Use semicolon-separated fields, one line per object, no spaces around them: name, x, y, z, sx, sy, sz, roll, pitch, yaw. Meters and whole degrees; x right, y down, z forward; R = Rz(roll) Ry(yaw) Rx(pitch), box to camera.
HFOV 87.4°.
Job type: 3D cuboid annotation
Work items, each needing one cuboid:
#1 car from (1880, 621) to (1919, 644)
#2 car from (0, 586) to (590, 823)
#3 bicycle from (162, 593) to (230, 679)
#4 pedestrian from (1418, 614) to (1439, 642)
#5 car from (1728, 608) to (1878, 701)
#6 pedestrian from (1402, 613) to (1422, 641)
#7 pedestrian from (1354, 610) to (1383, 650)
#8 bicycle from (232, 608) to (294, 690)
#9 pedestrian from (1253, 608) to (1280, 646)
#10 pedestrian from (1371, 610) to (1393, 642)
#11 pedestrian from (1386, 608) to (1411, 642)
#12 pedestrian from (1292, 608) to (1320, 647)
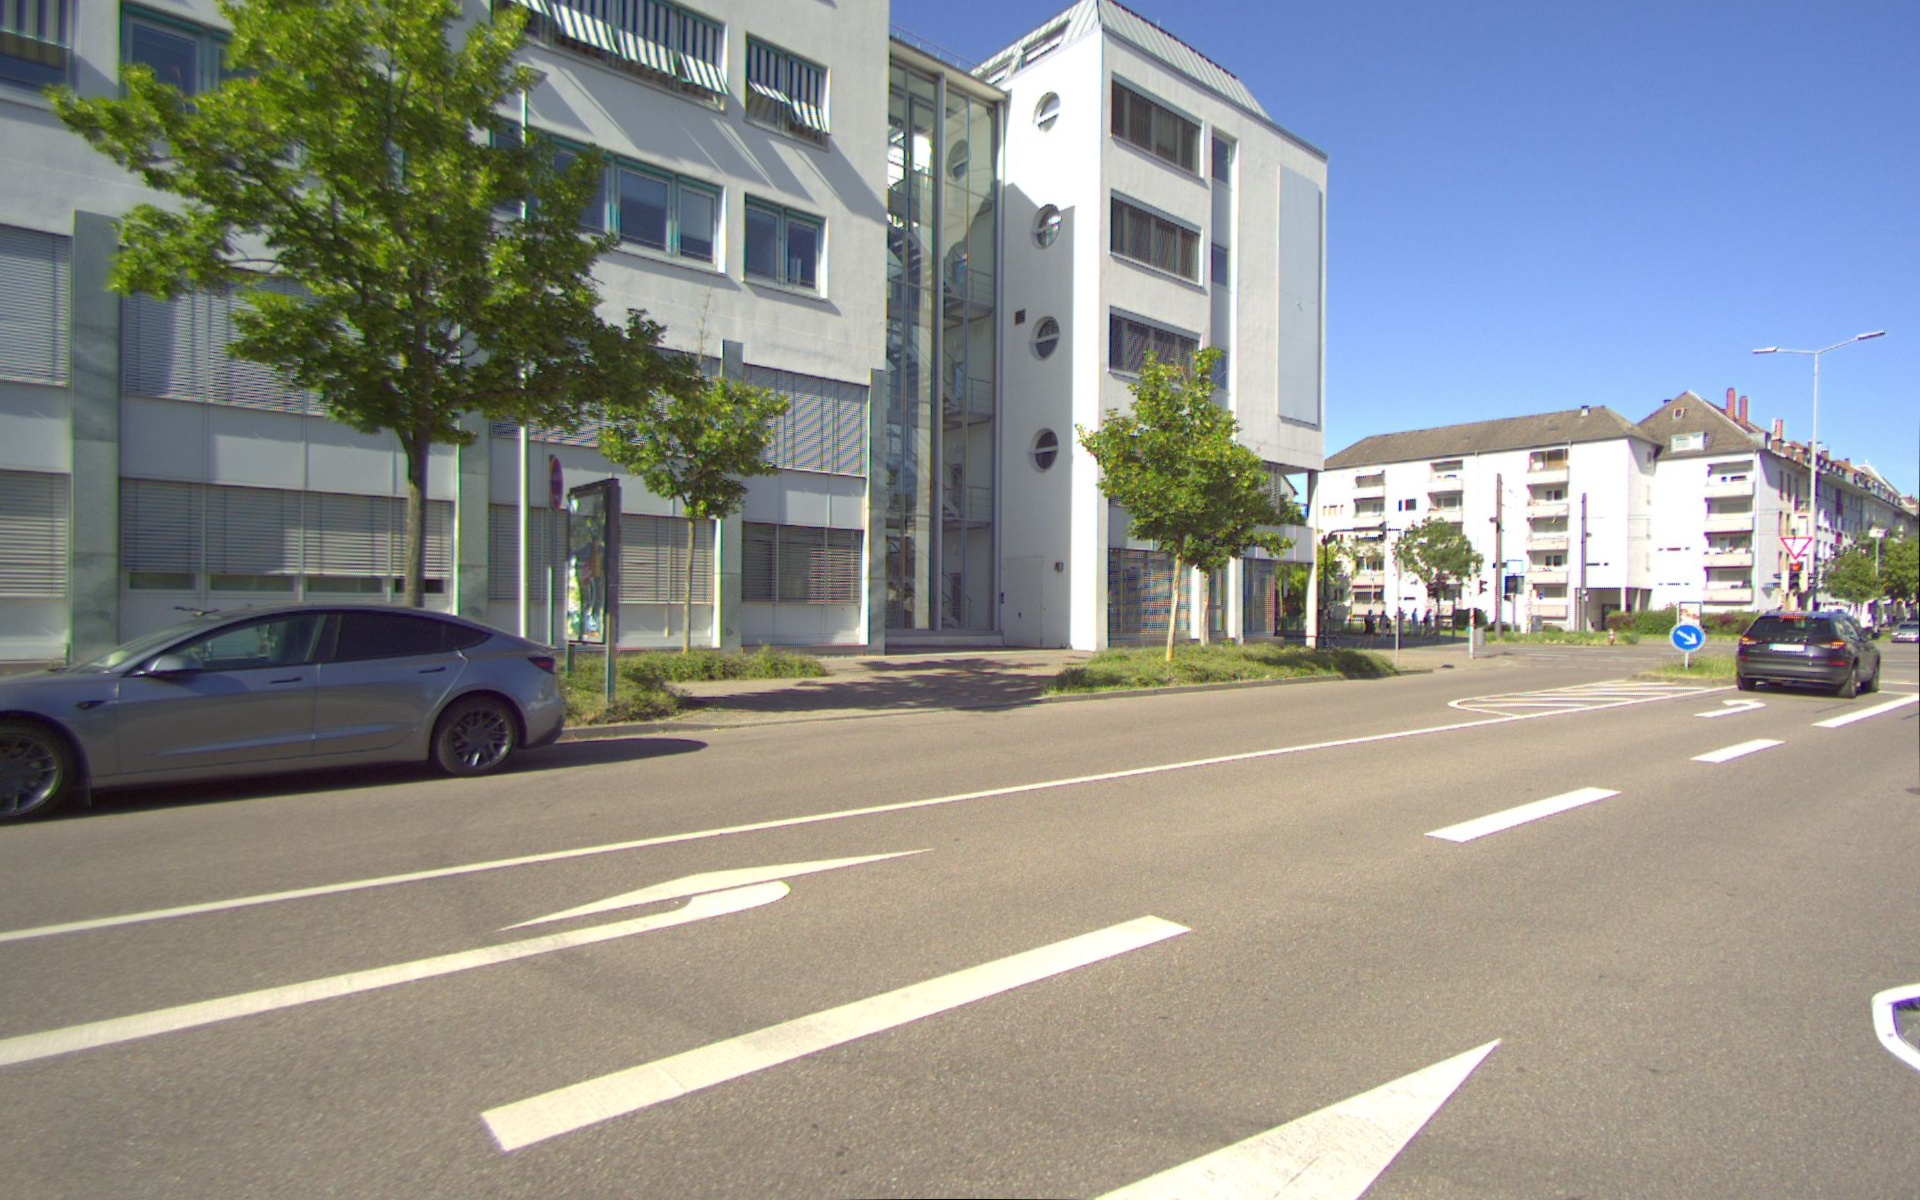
car;65.906;2.269;70.153;4.361;1.451;1.675;2;1;-38
car;-5.491;0.693;7.979;4.516;1.488;1.672;1;-1;-44
bicycle;-10.289;0.478;13.562;0.549;1.083;1.757;1;-2;-32
pedestrian;29.873;1.769;64.084;0.797;1.749;1.154;0;-1;1
car;17.545;1.062;20.833;4.444;1.650;1.738;1;1;-42
pedestrian;28.906;1.739;64.229;0.797;1.749;1.154;0;-1;1
pedestrian;17.883;1.302;43.962;0.802;1.749;1.147;0;-1;45
bicycle;-9.822;0.675;14.198;0.614;1.083;1.779;1;-2;-32
pedestrian;14.611;1.283;47.824;0.802;1.749;1.147;0;-1;45
pedestrian;23.510;1.453;55.940;0.802;1.749;1.147;0;-1;45
pedestrian;23.694;1.359;54.296;0.911;1.794;1.147;0;-1;45
pedestrian;15.771;1.259;45.756;0.802;1.749;1.147;0;-1;45
